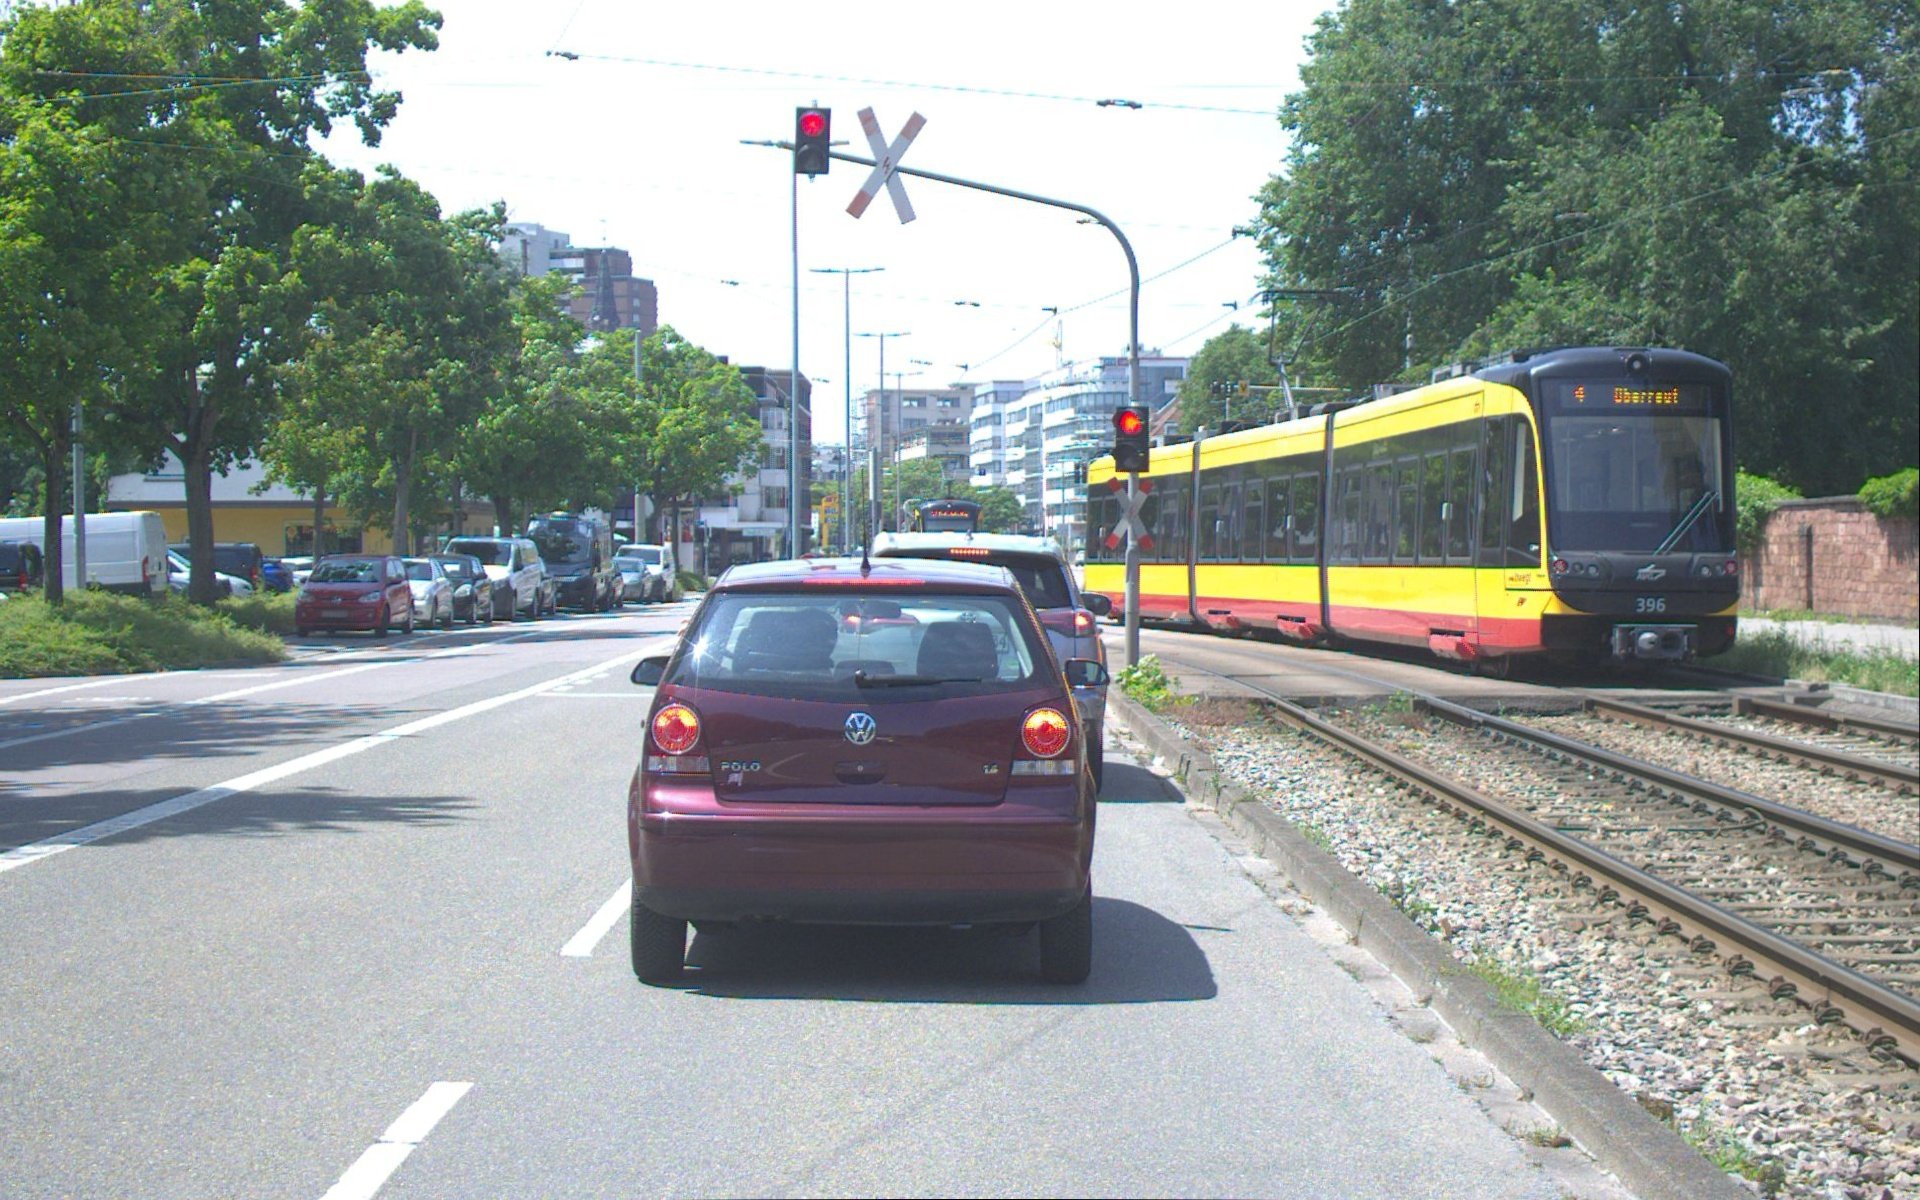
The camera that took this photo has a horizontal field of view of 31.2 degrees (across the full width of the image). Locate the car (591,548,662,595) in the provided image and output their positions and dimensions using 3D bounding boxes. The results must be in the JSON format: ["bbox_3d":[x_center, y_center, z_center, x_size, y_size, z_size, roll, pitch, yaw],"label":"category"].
[{"bbox_3d":[-10.673,-0.890,110.205,1.614,1.436,4.000,2,0,3],"label":"car"}]

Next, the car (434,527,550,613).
[{"bbox_3d":[-10.791,-0.682,79.558,1.783,1.875,4.785,2,0,2],"label":"car"}]

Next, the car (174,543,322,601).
[{"bbox_3d":[-21.352,-0.834,103.200,4.020,1.611,1.816,2,0,1],"label":"car"}]

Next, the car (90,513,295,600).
[{"bbox_3d":[-21.316,-1.201,95.652,5.097,2.237,2.378,2,0,1],"label":"car"}]

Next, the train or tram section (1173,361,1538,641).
[{"bbox_3d":[5.773,-1.464,53.100,3.028,3.785,13.092,0,1,-5],"label":"train or tram section"}]

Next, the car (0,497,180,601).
[{"bbox_3d":[-20.890,-1.191,79.433,5.097,2.237,2.378,2,0,1],"label":"car"}]

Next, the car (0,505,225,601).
[{"bbox_3d":[-21.543,-1.178,87.460,5.097,2.237,2.378,2,0,1],"label":"car"}]

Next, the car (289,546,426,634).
[{"bbox_3d":[-10.963,-0.183,62.773,1.663,1.491,4.000,2,0,1],"label":"car"}]

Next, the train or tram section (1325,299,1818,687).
[{"bbox_3d":[6.678,-1.172,40.153,3.028,3.785,13.091,0,1,-2],"label":"train or tram section"}]

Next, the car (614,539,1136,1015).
[{"bbox_3d":[-0.322,0.547,13.269,1.672,1.516,4.000,1,1,-1],"label":"car"}]

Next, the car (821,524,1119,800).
[{"bbox_3d":[0.015,0.343,23.000,1.777,1.641,4.000,1,1,-1],"label":"car"}]

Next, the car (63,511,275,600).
[{"bbox_3d":[-21.395,-1.194,93.121,5.097,2.237,2.378,2,0,1],"label":"car"}]

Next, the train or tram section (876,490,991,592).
[{"bbox_3d":[-1.109,-2.270,130.005,2.740,3.597,12.873,2,1,-7],"label":"train or tram section"}]

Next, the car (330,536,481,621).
[{"bbox_3d":[-11.132,-0.418,69.321,1.976,1.595,4.557,2,0,4],"label":"car"}]

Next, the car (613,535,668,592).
[{"bbox_3d":[-10.769,-1.226,115.883,1.774,1.822,4.001,2,0,-6],"label":"car"}]

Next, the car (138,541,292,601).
[{"bbox_3d":[-21.673,-0.833,100.124,4.020,1.611,1.816,2,0,1],"label":"car"}]

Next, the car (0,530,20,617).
[{"bbox_3d":[-21.112,-0.521,68.884,3.987,1.740,1.998,-1,1,-1],"label":"car"}]

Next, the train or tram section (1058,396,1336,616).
[{"bbox_3d":[4.292,-1.757,65.881,3.027,3.785,12.763,0,1,-6],"label":"train or tram section"}]

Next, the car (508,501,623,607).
[{"bbox_3d":[-10.585,-1.208,92.597,2.361,2.683,5.307,2,0,0],"label":"car"}]

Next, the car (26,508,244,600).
[{"bbox_3d":[-21.729,-1.196,90.650,5.097,2.237,2.378,2,0,1],"label":"car"}]
